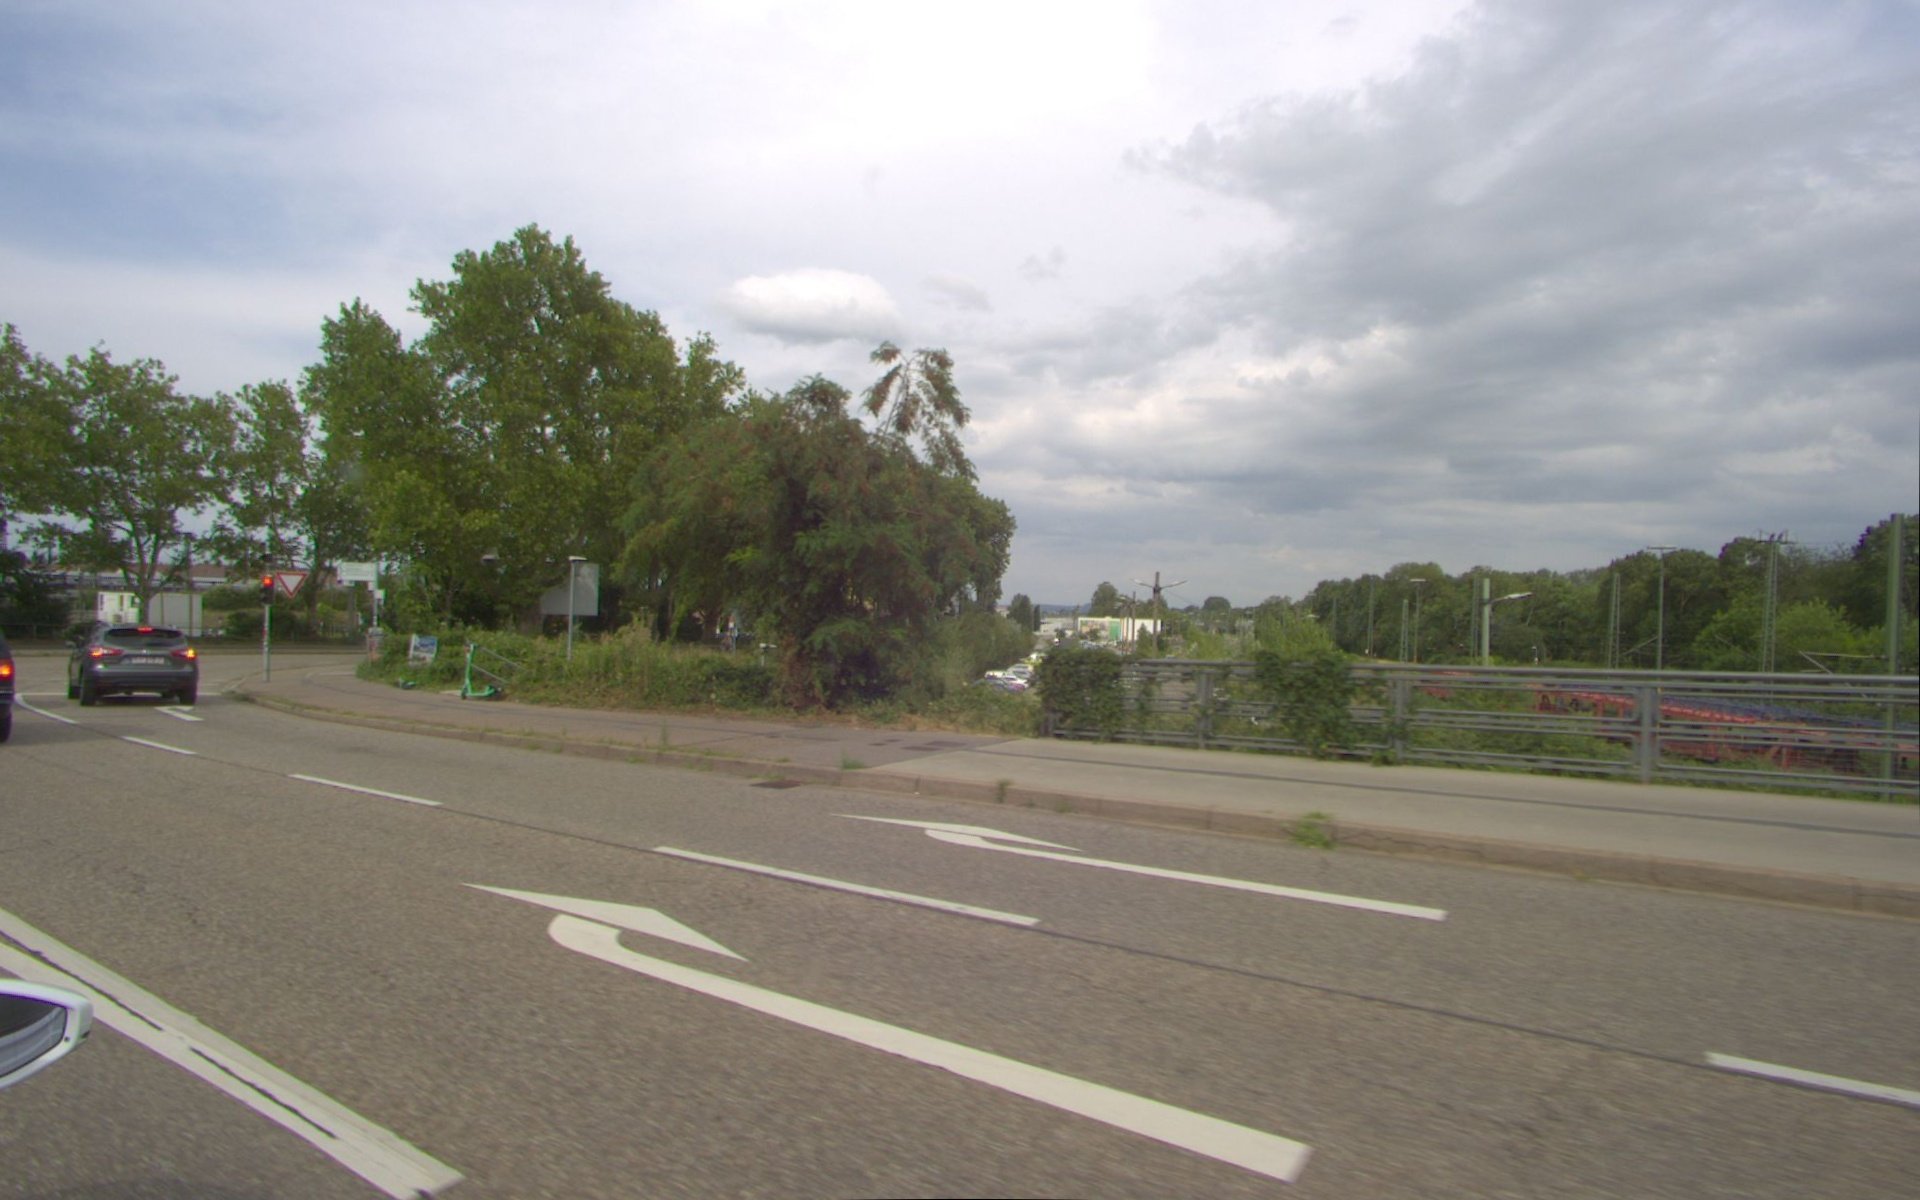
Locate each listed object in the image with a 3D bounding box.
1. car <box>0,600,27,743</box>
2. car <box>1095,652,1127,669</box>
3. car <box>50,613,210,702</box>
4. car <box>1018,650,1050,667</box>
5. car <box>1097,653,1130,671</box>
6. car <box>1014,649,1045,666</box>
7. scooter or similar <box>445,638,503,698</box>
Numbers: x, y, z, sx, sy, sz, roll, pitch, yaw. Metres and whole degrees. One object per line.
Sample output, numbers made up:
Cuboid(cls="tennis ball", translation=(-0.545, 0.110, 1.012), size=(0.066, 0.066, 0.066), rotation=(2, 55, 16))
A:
Cuboid(cls="car", translation=(-13.691, 0.857, 12.892), size=(4.085, 1.746, 1.745), rotation=(-1, -3, 37))
Cuboid(cls="car", translation=(19.762, 7.864, 131.261), size=(3.922, 2.040, 1.763), rotation=(1, 0, 5))
Cuboid(cls="car", translation=(-17.191, 1.152, 20.679), size=(4.088, 1.663, 1.744), rotation=(-1, -3, 39))
Cuboid(cls="car", translation=(9.692, 7.597, 130.802), size=(3.924, 2.040, 1.762), rotation=(1, 0, 11))
Cuboid(cls="car", translation=(19.346, 7.776, 126.380), size=(3.922, 2.040, 1.763), rotation=(1, 0, 5))
Cuboid(cls="car", translation=(9.336, 7.633, 133.681), size=(3.924, 2.040, 1.762), rotation=(1, 0, 11))
Cuboid(cls="scooter or similar", translation=(-9.953, 1.377, 20.485), size=(1.260, 1.198, 0.396), rotation=(0, 0, 28))
